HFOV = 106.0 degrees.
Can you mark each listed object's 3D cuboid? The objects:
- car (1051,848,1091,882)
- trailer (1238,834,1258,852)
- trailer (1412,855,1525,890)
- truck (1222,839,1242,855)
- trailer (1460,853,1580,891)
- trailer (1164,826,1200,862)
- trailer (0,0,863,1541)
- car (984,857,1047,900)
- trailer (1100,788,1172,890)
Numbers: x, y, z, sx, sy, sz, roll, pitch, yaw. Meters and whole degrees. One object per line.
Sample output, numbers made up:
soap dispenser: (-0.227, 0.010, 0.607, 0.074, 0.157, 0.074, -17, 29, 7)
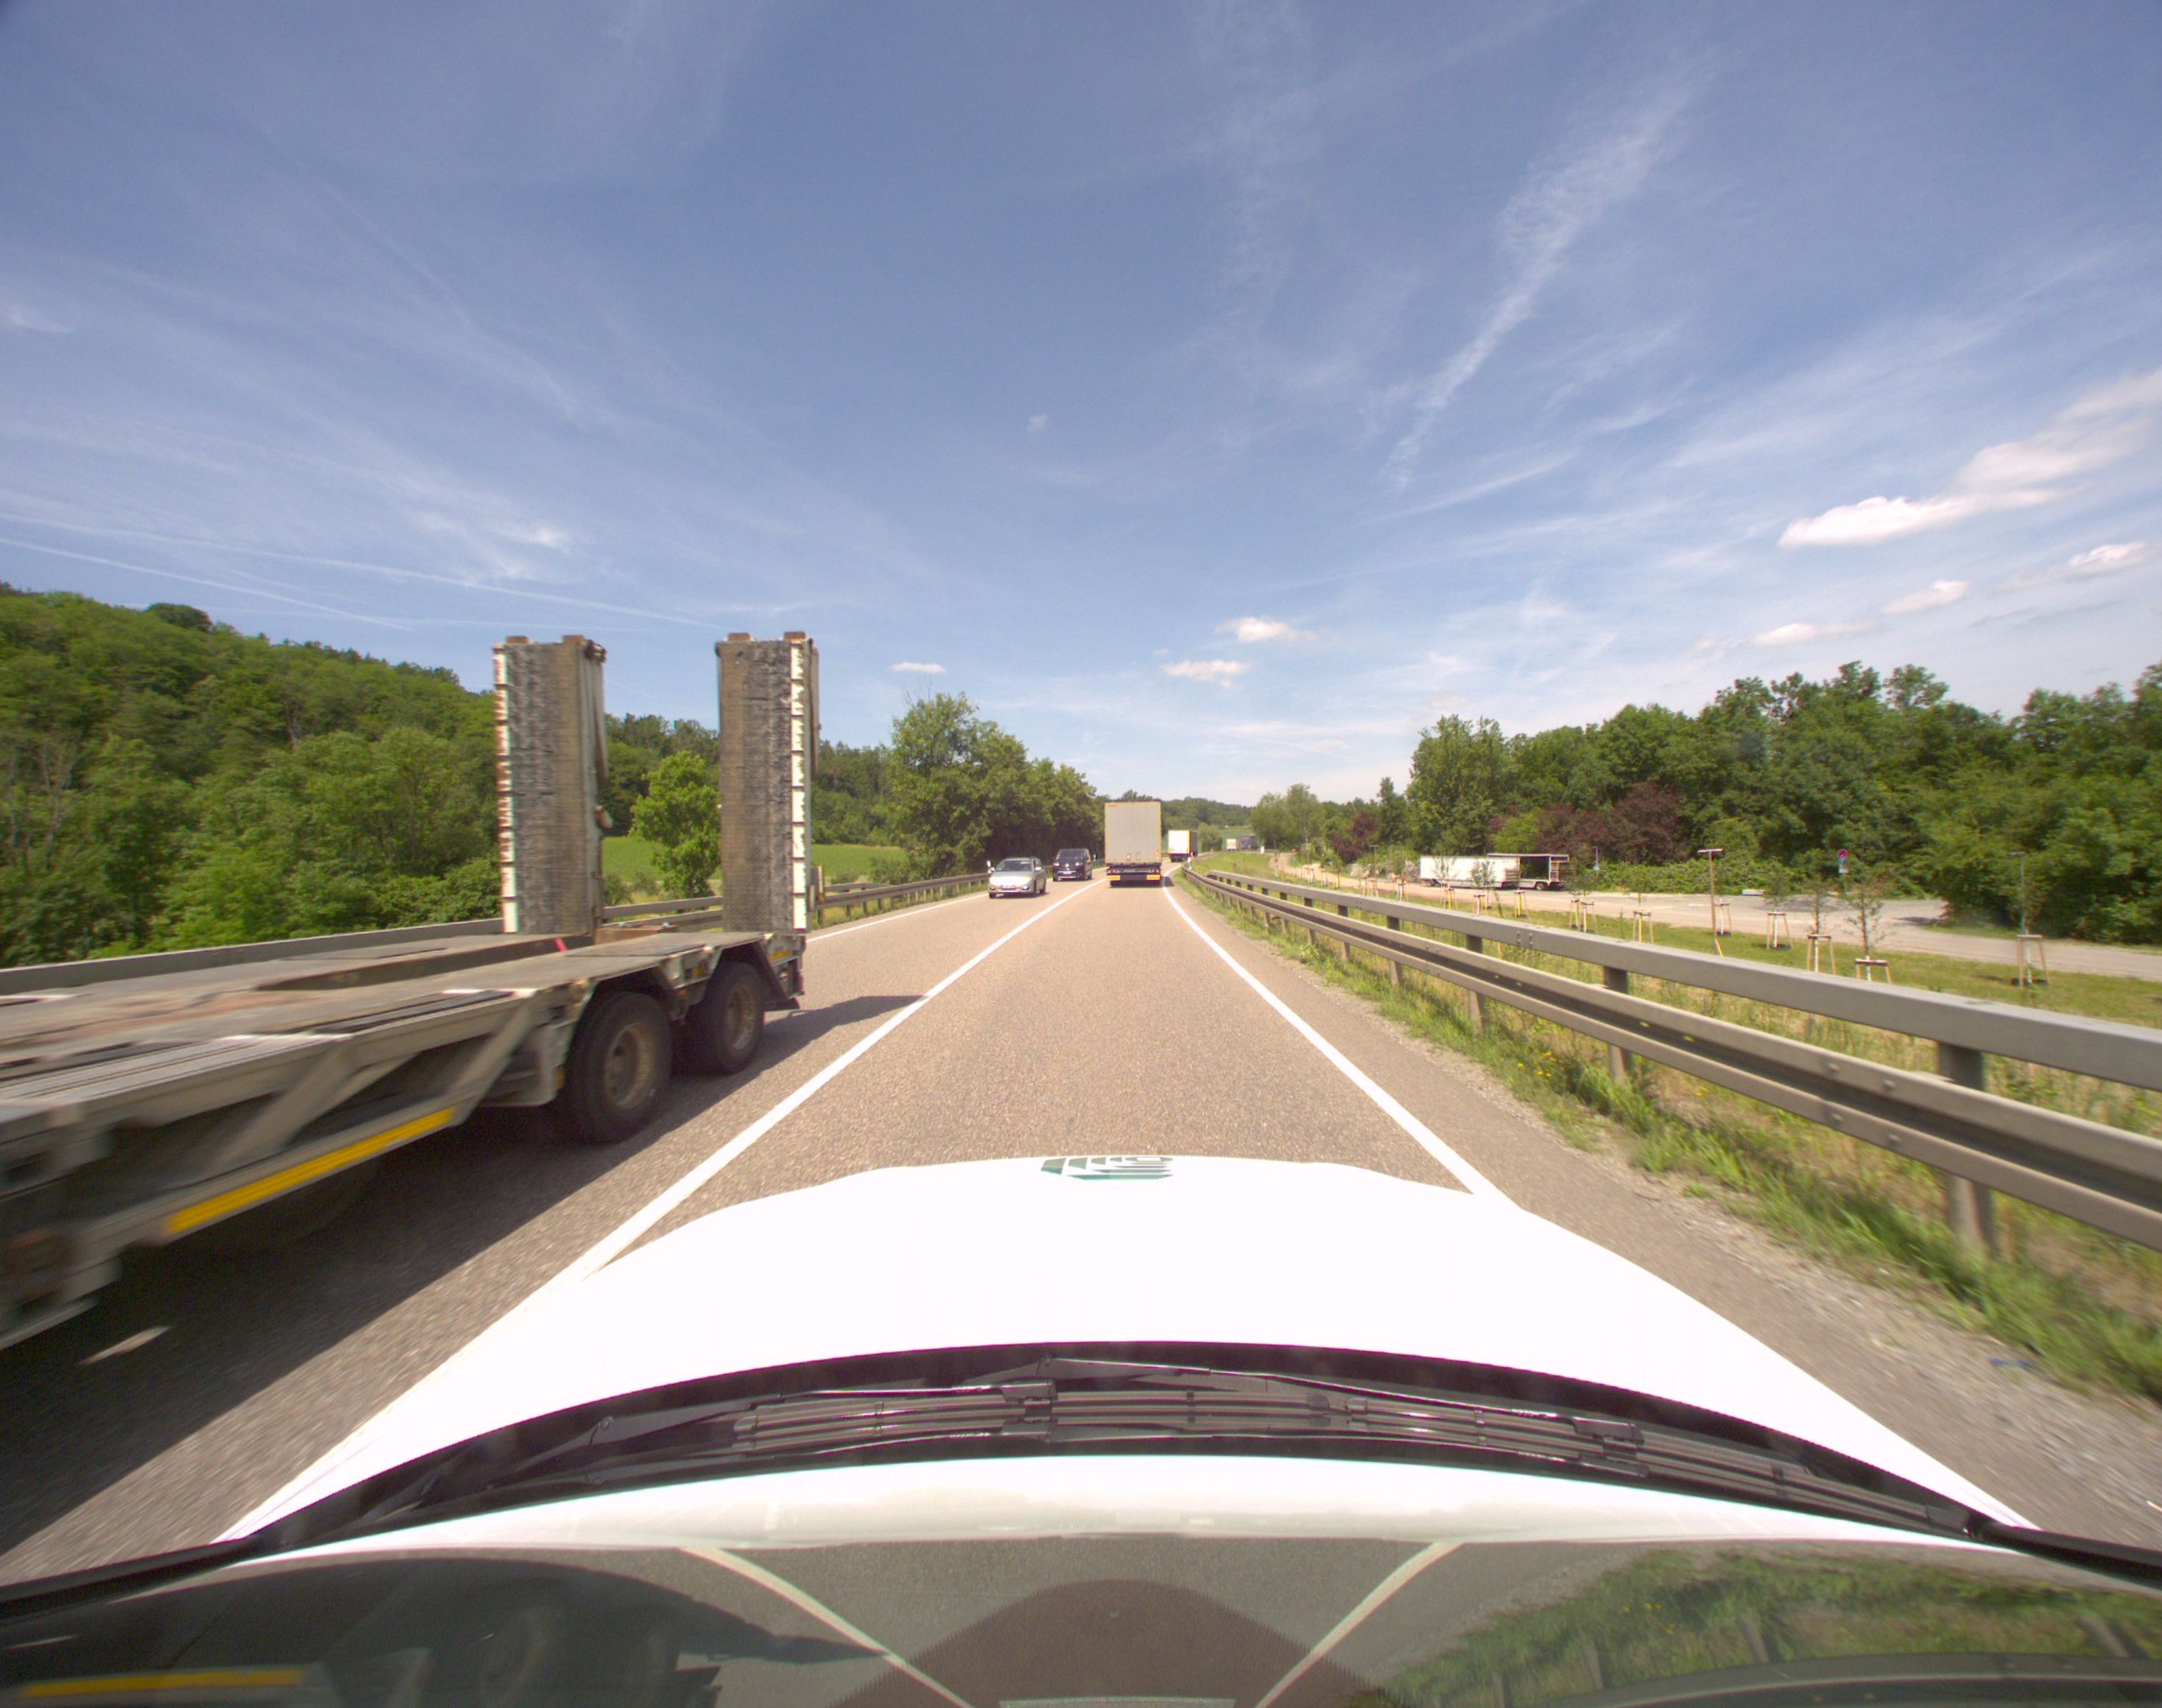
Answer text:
car: (-0.532, 0.605, 48.283, 1.913, 1.860, 5.182, -1, 0, 4)
trailer: (42.590, -2.772, 207.559, 3.619, 4.263, 12.249, -1, -1, 17)
trailer: (39.944, 1.787, 84.701, 2.730, 3.327, 11.804, -1, 0, -23)
truck: (34.635, -1.590, 186.256, 3.198, 3.365, 11.925, -1, -1, 16)
trailer: (44.125, 1.657, 82.478, 2.729, 3.606, 11.811, 0, 0, -21)
trailer: (13.188, -1.164, 105.210, 3.343, 4.317, 13.908, -1, -1, 12)
trailer: (-3.992, -0.468, 0.380, 3.106, 3.980, 15.362, -1, 0, 2)
car: (-2.401, 0.859, 30.769, 1.760, 1.494, 4.174, -1, 0, 4)
trailer: (2.884, -0.711, 43.033, 3.105, 4.499, 13.900, -1, 0, 4)
